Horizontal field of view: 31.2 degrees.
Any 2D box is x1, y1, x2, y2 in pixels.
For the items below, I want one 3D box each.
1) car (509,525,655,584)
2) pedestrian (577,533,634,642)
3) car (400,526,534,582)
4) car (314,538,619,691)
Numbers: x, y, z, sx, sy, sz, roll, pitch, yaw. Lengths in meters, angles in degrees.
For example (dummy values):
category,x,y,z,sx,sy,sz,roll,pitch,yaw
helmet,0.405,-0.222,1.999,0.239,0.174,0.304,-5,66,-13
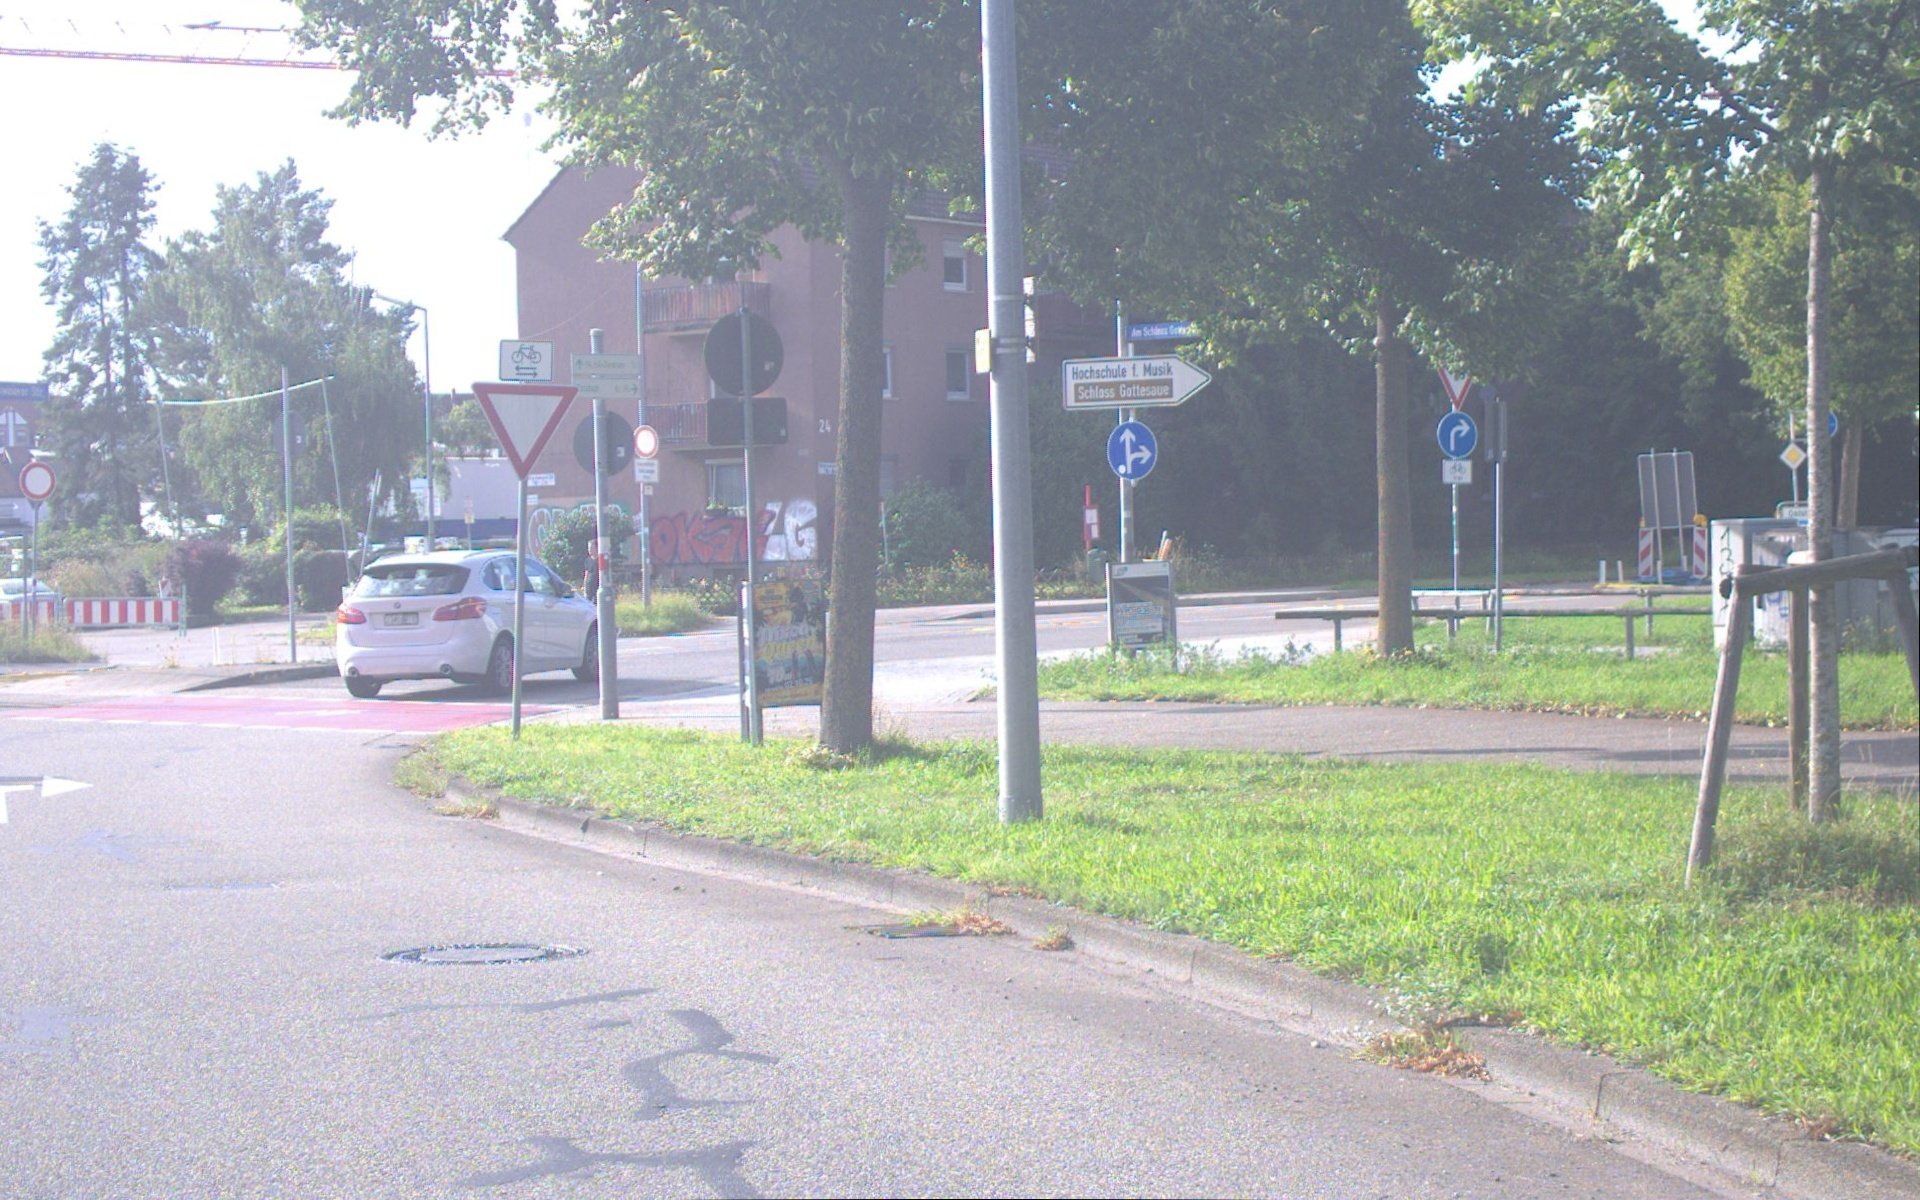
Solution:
category,x,y,z,sx,sy,sz,roll,pitch,yaw
car,-11.021,-1.327,100.380,3.987,1.612,1.773,-1,1,1
pedestrian,-6.162,-0.223,59.763,0.668,1.864,0.834,-1,1,18
car,-15.181,-1.410,105.812,3.986,1.612,1.774,-2,1,-9
car,-5.416,0.114,38.316,1.851,1.567,4.452,0,1,13
